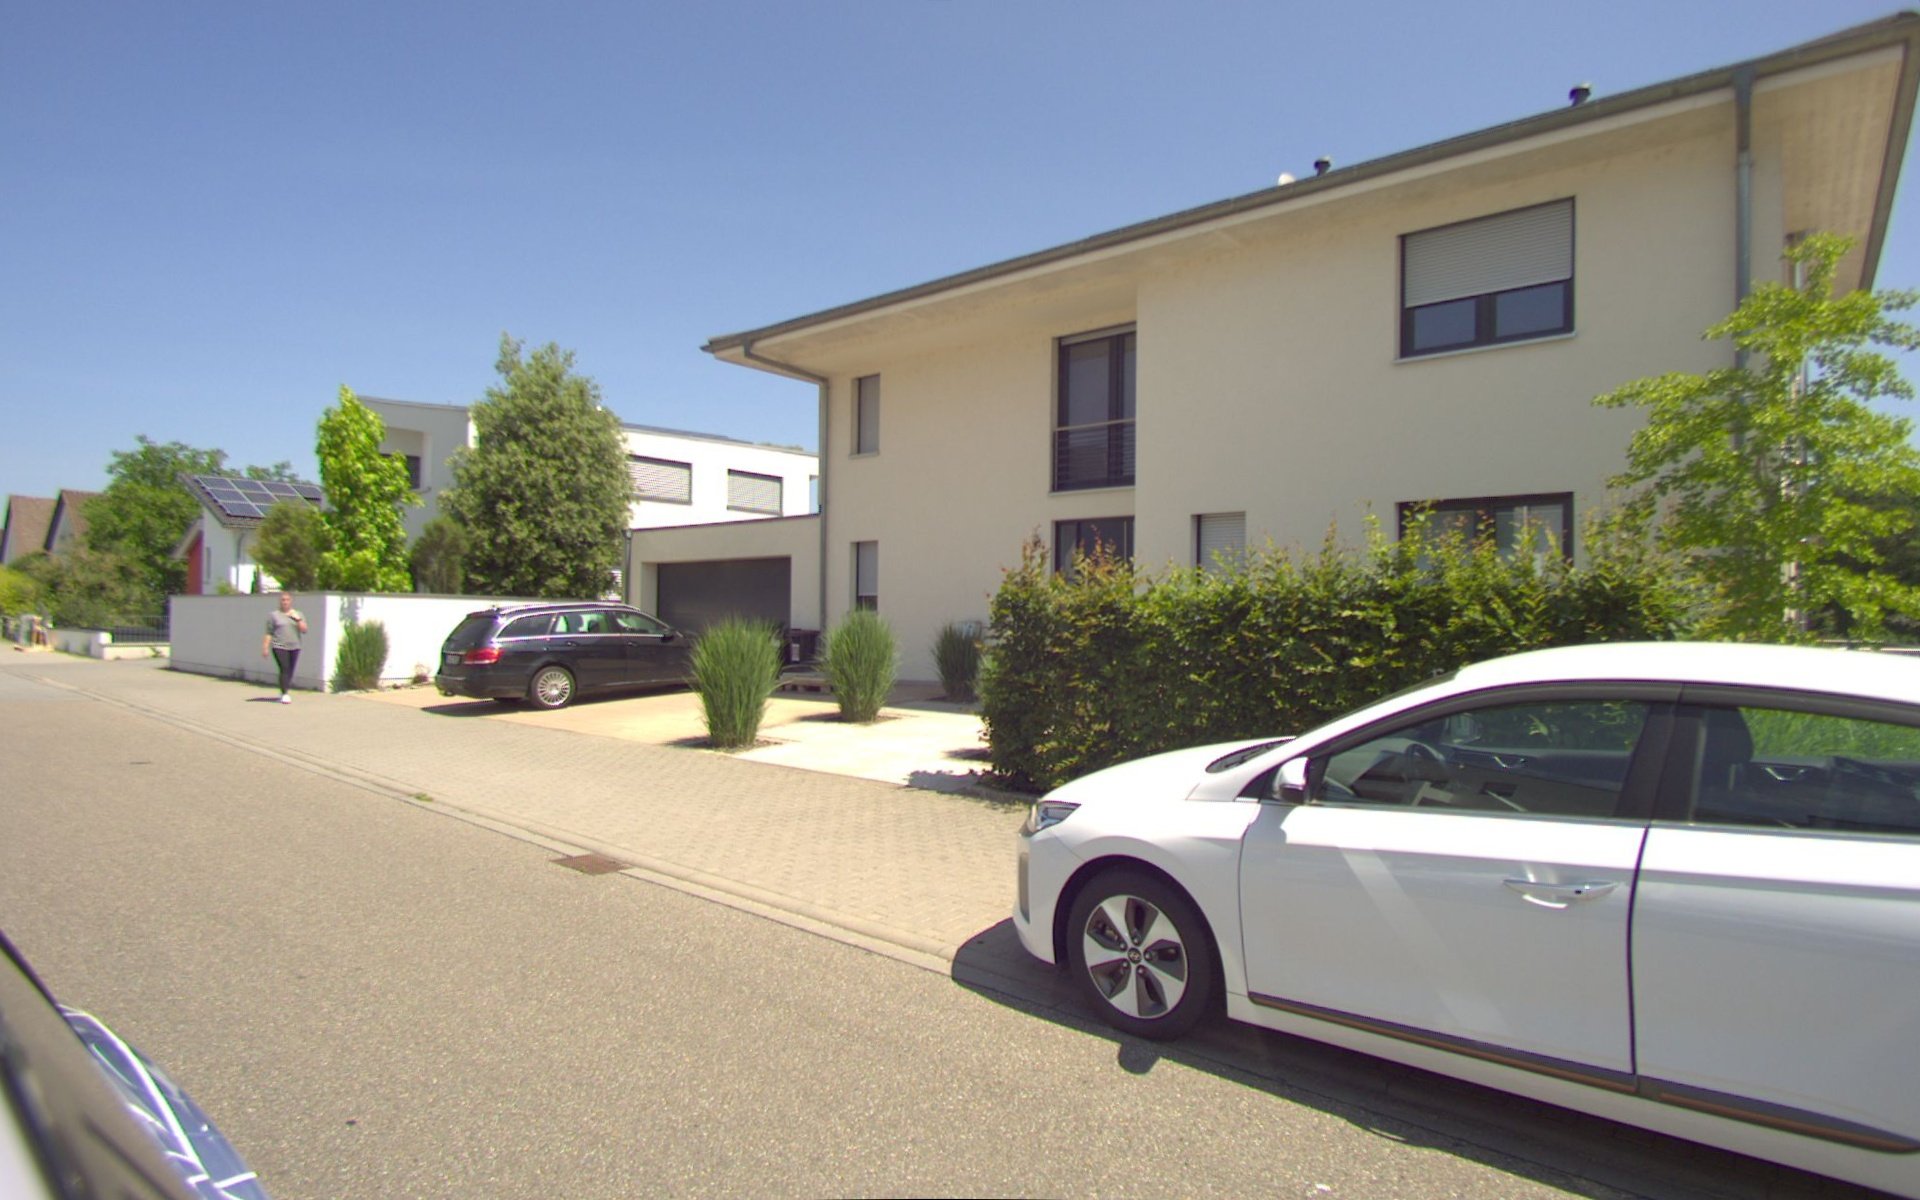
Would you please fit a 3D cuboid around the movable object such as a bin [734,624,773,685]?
[{"bbox_3d":[-3.742,0.974,18.345,0.588,1.081,0.381,-1,-2,34],"label":"movable object such as a bin"}]

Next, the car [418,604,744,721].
[{"bbox_3d":[-5.745,0.855,15.755,1.851,1.484,4.379,-1,0,44],"label":"car"}]

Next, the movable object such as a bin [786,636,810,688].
[{"bbox_3d":[-2.824,1.068,17.620,0.393,0.890,0.182,-1,-2,34],"label":"movable object such as a bin"}]

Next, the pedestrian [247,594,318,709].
[{"bbox_3d":[-10.696,0.788,15.983,0.960,1.760,0.707,-1,-1,41],"label":"pedestrian"}]

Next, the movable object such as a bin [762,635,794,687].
[{"bbox_3d":[-3.229,1.076,17.928,0.475,0.890,0.308,-1,-2,34],"label":"movable object such as a bin"}]

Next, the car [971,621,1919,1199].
[{"bbox_3d":[2.288,0.841,3.393,4.383,1.499,1.833,-1,-1,41],"label":"car"}]
